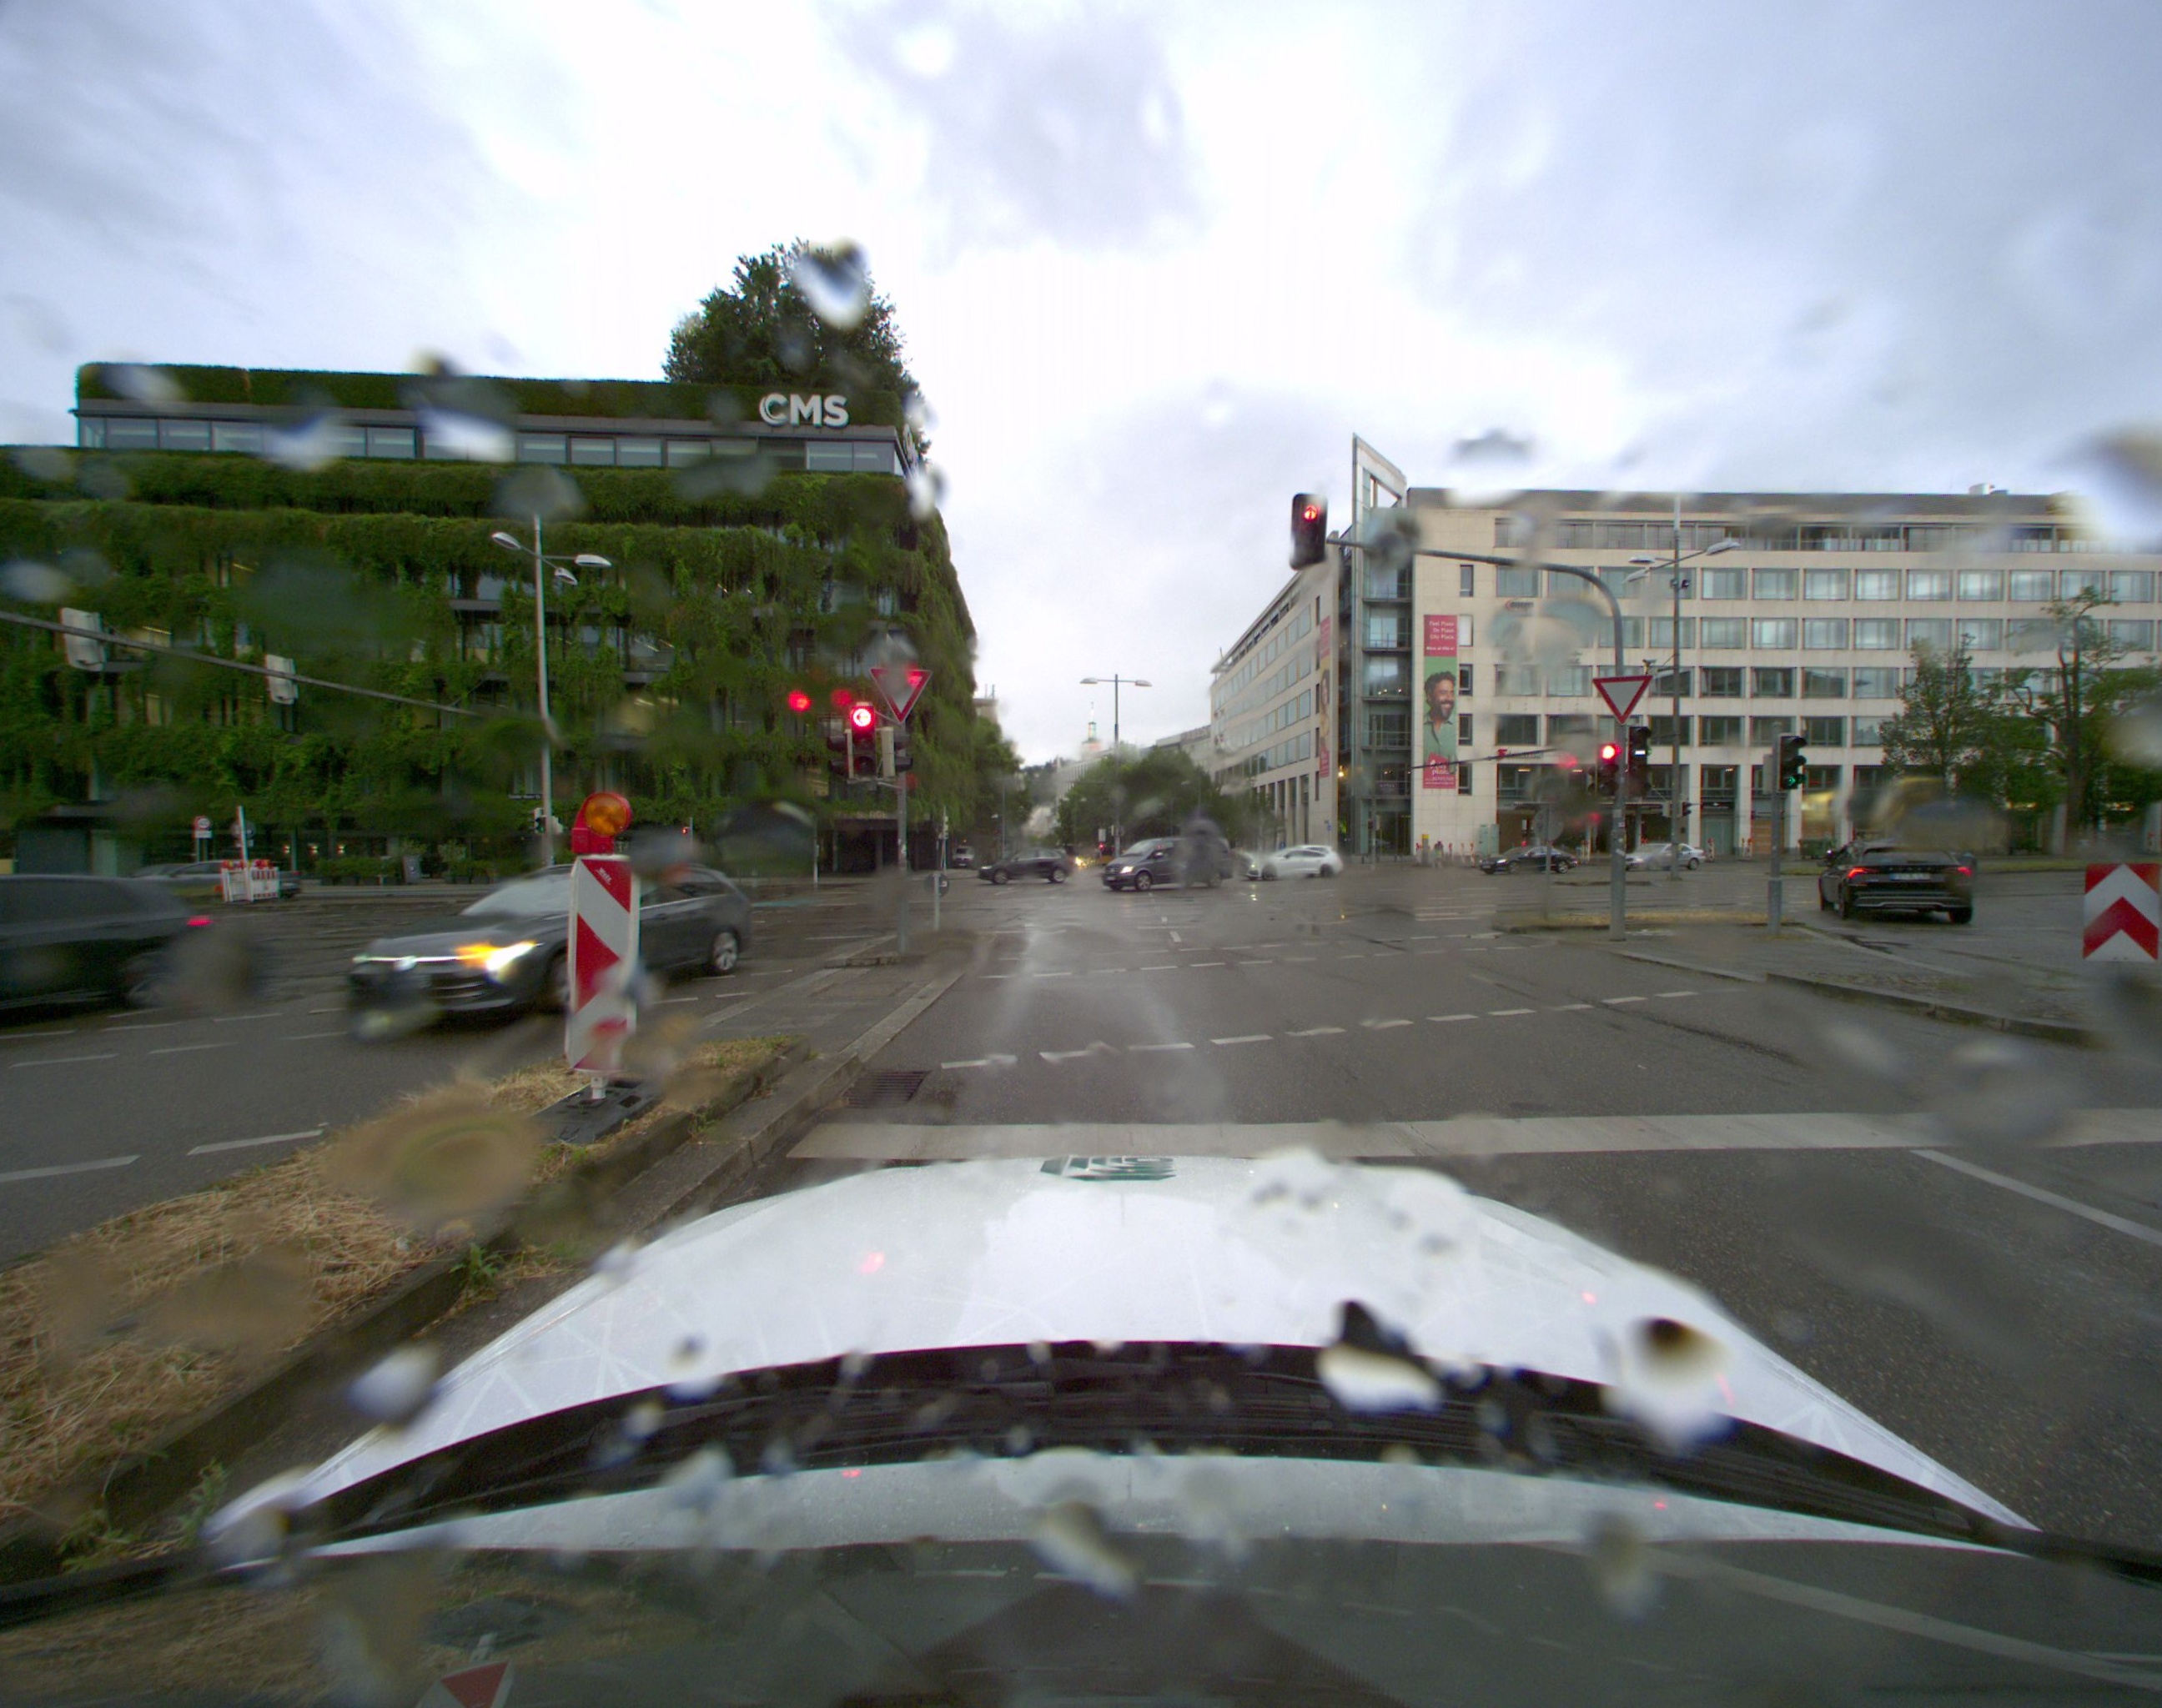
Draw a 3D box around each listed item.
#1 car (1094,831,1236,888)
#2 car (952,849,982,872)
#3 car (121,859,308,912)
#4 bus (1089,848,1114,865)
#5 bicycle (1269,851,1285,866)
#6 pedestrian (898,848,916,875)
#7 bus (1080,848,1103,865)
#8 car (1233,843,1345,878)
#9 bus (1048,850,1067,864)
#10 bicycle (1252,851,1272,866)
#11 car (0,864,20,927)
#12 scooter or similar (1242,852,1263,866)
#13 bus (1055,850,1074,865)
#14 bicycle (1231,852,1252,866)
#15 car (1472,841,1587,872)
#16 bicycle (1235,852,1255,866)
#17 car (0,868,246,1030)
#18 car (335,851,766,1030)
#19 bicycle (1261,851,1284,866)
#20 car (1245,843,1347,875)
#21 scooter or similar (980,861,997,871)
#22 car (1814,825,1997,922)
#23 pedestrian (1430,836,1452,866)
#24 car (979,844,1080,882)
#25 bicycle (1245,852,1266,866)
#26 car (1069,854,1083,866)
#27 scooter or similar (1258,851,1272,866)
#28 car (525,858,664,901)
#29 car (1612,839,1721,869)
[{"bbox_3d":[3.108,0.189,29.838,4.981,1.927,1.980,0,-1,-31],"label":"car"},{"bbox_3d":[-9.557,0.534,68.737,1.863,1.839,4.001,0,-1,2],"label":"car"},{"bbox_3d":[-29.438,1.034,27.817,3.992,1.669,1.843,0,-1,-14],"label":"car"},{"bbox_3d":[3.683,0.432,146.092,2.631,2.995,7.415,-1,0,-13],"label":"bus"},{"bbox_3d":[16.053,0.389,66.738,0.579,1.194,1.794,-1,-1,40],"label":"bicycle"},{"bbox_3d":[-10.989,0.472,51.349,0.930,1.644,0.774,0,-1,1],"label":"pedestrian"},{"bbox_3d":[1.990,0.430,153.284,2.631,2.995,7.415,-1,0,-13],"label":"bus"},{"bbox_3d":[9.496,0.286,37.227,4.690,1.512,1.802,0,-1,-14],"label":"car"},{"bbox_3d":[-5.234,0.739,180.720,2.631,2.995,7.415,-1,0,-13],"label":"bus"},{"bbox_3d":[14.730,0.381,66.213,0.588,1.194,1.768,0,-1,-26],"label":"bicycle"},{"bbox_3d":[-27.340,1.002,18.311,3.981,1.475,1.996,-1,0,-6],"label":"car"},{"bbox_3d":[14.910,0.417,70.799,1.770,1.194,0.587,0,-1,3],"label":"scooter or similar"},{"bbox_3d":[-3.538,0.748,173.576,2.631,2.995,7.294,-1,0,-13],"label":"bus"},{"bbox_3d":[14.298,0.437,72.606,1.770,1.194,0.587,0,-1,3],"label":"bicycle"},{"bbox_3d":[22.242,0.129,40.451,4.849,1.477,1.992,0,-2,-11],"label":"car"},{"bbox_3d":[14.941,0.444,74.143,1.770,1.194,0.587,0,-1,3],"label":"bicycle"},{"bbox_3d":[-10.745,0.902,7.384,1.678,1.431,4.223,0,0,8],"label":"car"},{"bbox_3d":[-5.474,0.746,9.237,1.678,1.510,4.300,-1,0,7],"label":"car"},{"bbox_3d":[15.203,0.365,64.648,1.607,1.194,0.590,-1,-1,27],"label":"bicycle"},{"bbox_3d":[10.782,0.240,40.913,4.690,1.512,1.802,0,-1,-14],"label":"car"},{"bbox_3d":[-9.426,1.180,82.951,0.616,1.004,1.671,-1,0,40],"label":"scooter or similar"},{"bbox_3d":[16.367,0.328,16.402,1.910,1.695,4.026,-1,0,36],"label":"car"},{"bbox_3d":[21.823,-0.162,49.415,0.958,1.816,0.837,0,-1,1],"label":"pedestrian"},{"bbox_3d":[-2.373,0.404,37.053,4.406,1.638,1.992,0,-1,-11],"label":"car"},{"bbox_3d":[15.290,0.420,71.412,1.770,1.194,0.587,0,-1,3],"label":"bicycle"},{"bbox_3d":[-0.799,0.920,126.884,2.158,1.765,5.108,1,-1,-2],"label":"car"},{"bbox_3d":[14.422,0.365,63.982,0.951,1.194,0.458,-1,-1,42],"label":"scooter or similar"},{"bbox_3d":[-19.717,0.994,33.214,4.407,1.638,1.992,0,-1,-12],"label":"car"},{"bbox_3d":[30.305,0.013,42.192,4.723,1.477,1.991,0,-2,-13],"label":"car"}]
